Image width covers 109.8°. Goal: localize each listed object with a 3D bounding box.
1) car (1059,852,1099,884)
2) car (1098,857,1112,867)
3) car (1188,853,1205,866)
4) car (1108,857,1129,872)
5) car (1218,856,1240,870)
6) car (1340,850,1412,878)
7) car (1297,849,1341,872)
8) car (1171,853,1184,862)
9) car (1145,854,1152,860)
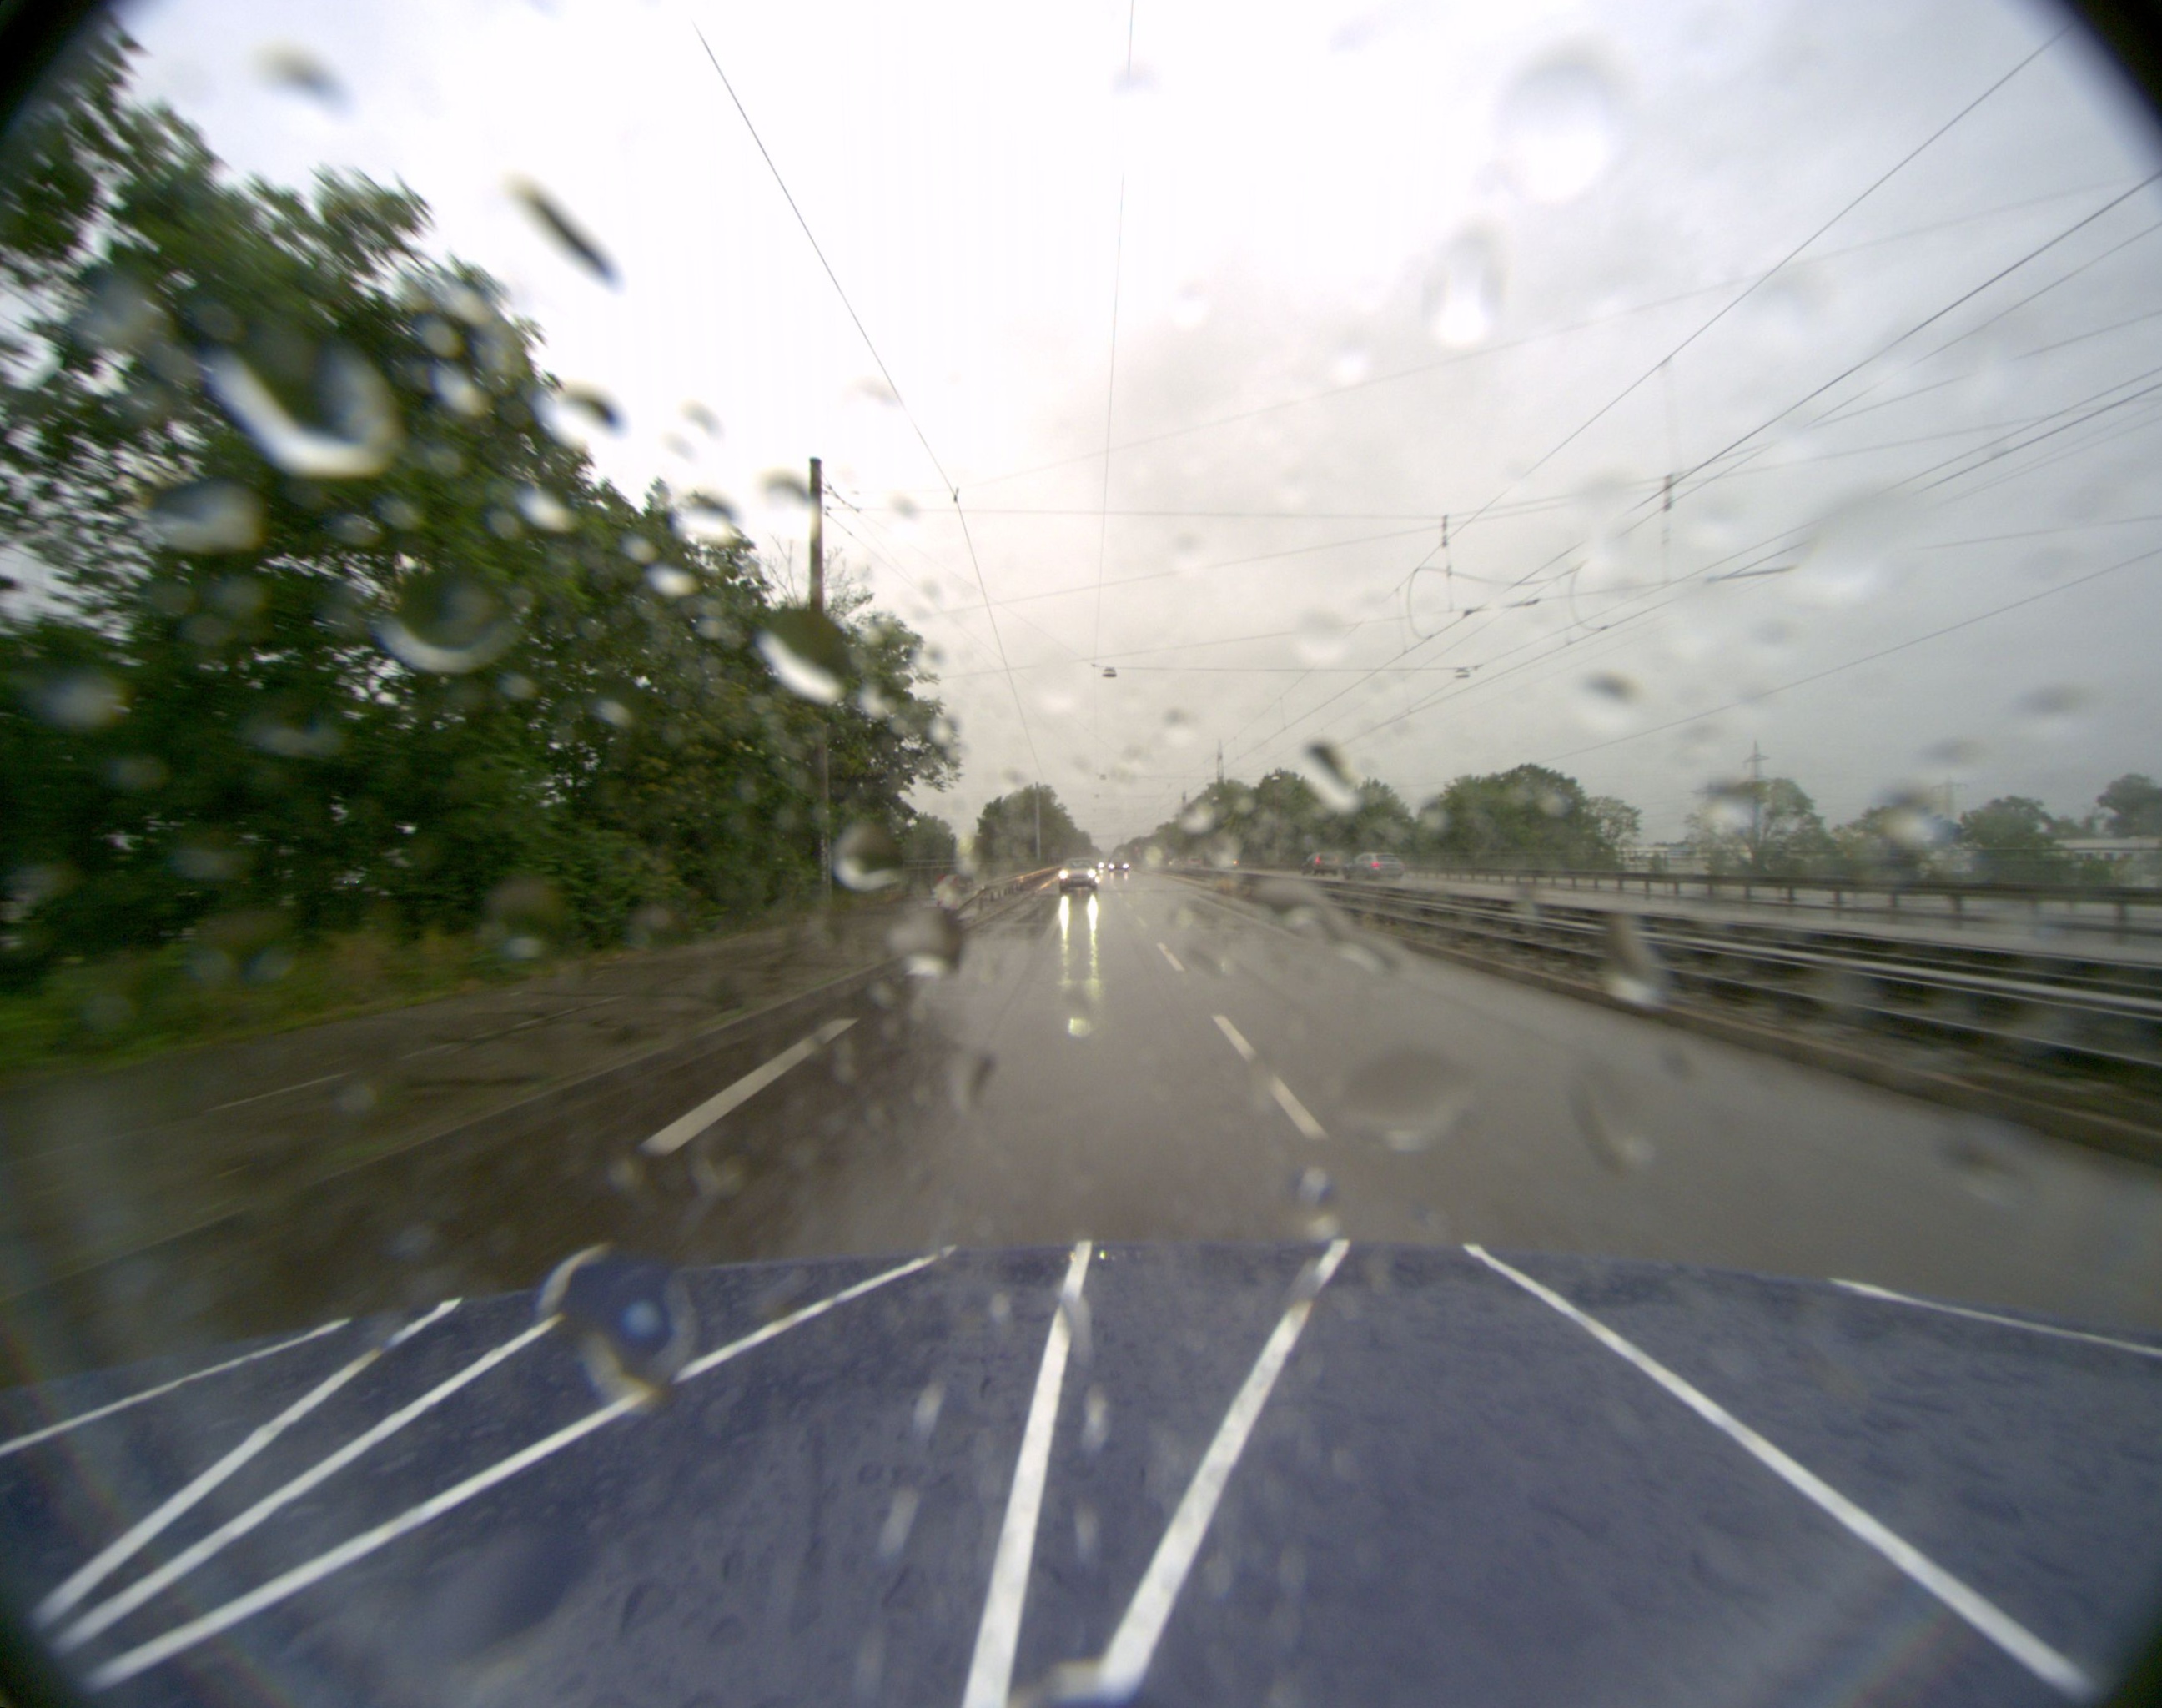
[{"bbox_3d":[-0.043,0.617,35.668,1.750,1.412,4.000,0,1,1],"label":"car"},{"bbox_3d":[3.598,1.210,113.171,1.971,1.412,4.000,0,1,1],"label":"car"},{"bbox_3d":[17.933,0.858,118.409,1.853,1.821,4.394,-5,1,1],"label":"car"},{"bbox_3d":[3.876,1.043,78.719,1.971,1.412,4.000,0,1,1],"label":"car"},{"bbox_3d":[17.444,1.065,89.832,1.851,1.585,4.000,-2,1,1],"label":"car"},{"bbox_3d":[15.862,0.496,41.133,1.998,1.380,4.853,-1,0,0],"label":"car"},{"bbox_3d":[17.071,0.445,54.635,1.845,1.565,4.385,-2,1,1],"label":"car"},{"bbox_3d":[18.353,0.625,145.189,1.998,1.608,4.000,-1,1,1],"label":"car"},{"bbox_3d":[19.587,0.906,221.311,1.777,1.621,3.671,-5,1,1],"label":"car"}]
